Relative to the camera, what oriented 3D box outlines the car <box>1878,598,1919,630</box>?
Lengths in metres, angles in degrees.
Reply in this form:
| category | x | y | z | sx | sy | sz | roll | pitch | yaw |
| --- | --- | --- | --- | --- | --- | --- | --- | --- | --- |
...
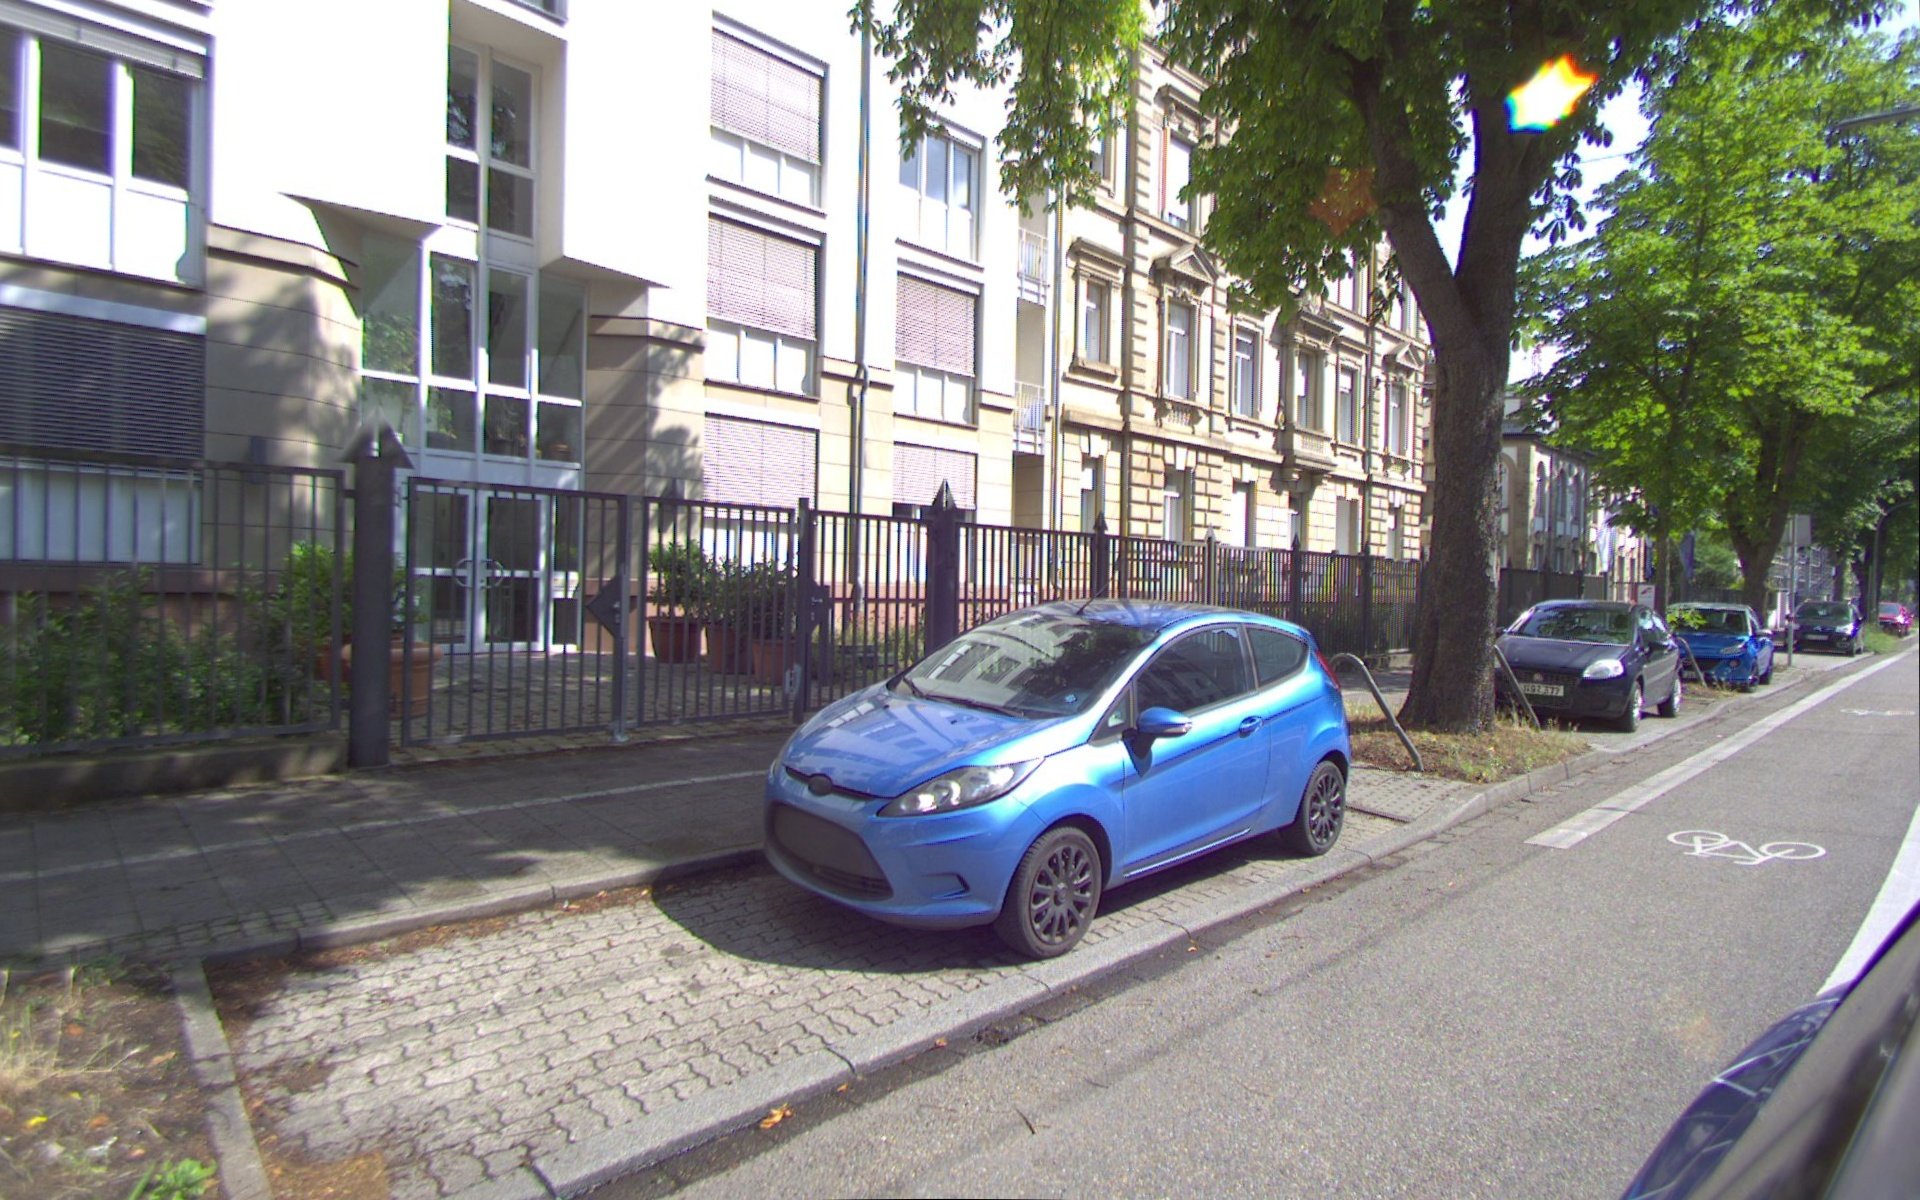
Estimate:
| category | x | y | z | sx | sy | sz | roll | pitch | yaw |
| --- | --- | --- | --- | --- | --- | --- | --- | --- | --- |
| car | 48.628 | 0.707 | 52.260 | 1.599 | 1.445 | 3.544 | 6 | 4 | 40 |

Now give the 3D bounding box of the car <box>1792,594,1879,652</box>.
| category | x | y | z | sx | sy | sz | roll | pitch | yaw |
| --- | --- | --- | --- | --- | --- | --- | --- | --- | --- |
| car | 27.082 | 0.651 | 31.253 | 1.698 | 1.610 | 4.135 | 4 | 3 | 45 |

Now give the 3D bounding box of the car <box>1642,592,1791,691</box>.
| category | x | y | z | sx | sy | sz | roll | pitch | yaw |
| --- | --- | --- | --- | --- | --- | --- | --- | --- | --- |
| car | 13.674 | 0.671 | 18.229 | 1.641 | 1.514 | 3.569 | 4 | 3 | 44 |

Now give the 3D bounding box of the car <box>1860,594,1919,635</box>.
| category | x | y | z | sx | sy | sz | roll | pitch | yaw |
| --- | --- | --- | --- | --- | --- | --- | --- | --- | --- |
| car | 43.056 | 0.635 | 46.866 | 1.877 | 1.697 | 4.214 | 4 | 3 | 44 |

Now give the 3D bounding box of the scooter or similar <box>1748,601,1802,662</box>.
| category | x | y | z | sx | sy | sz | roll | pitch | yaw |
| --- | --- | --- | --- | --- | --- | --- | --- | --- | --- |
| scooter or similar | 18.700 | 0.708 | 23.233 | 0.436 | 1.315 | 1.177 | 5 | 1 | 15 |

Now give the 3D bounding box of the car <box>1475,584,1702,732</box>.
| category | x | y | z | sx | sy | sz | roll | pitch | yaw |
| --- | --- | --- | --- | --- | --- | --- | --- | --- | --- |
| car | 7.975 | 0.616 | 12.715 | 1.640 | 1.514 | 3.698 | 4 | 3 | 44 |

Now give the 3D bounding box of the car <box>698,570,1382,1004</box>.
| category | x | y | z | sx | sy | sz | roll | pitch | yaw |
| --- | --- | --- | --- | --- | --- | --- | --- | --- | --- |
| car | 0.681 | 0.668 | 5.575 | 3.784 | 1.514 | 1.626 | 0 | 3 | -44 |
